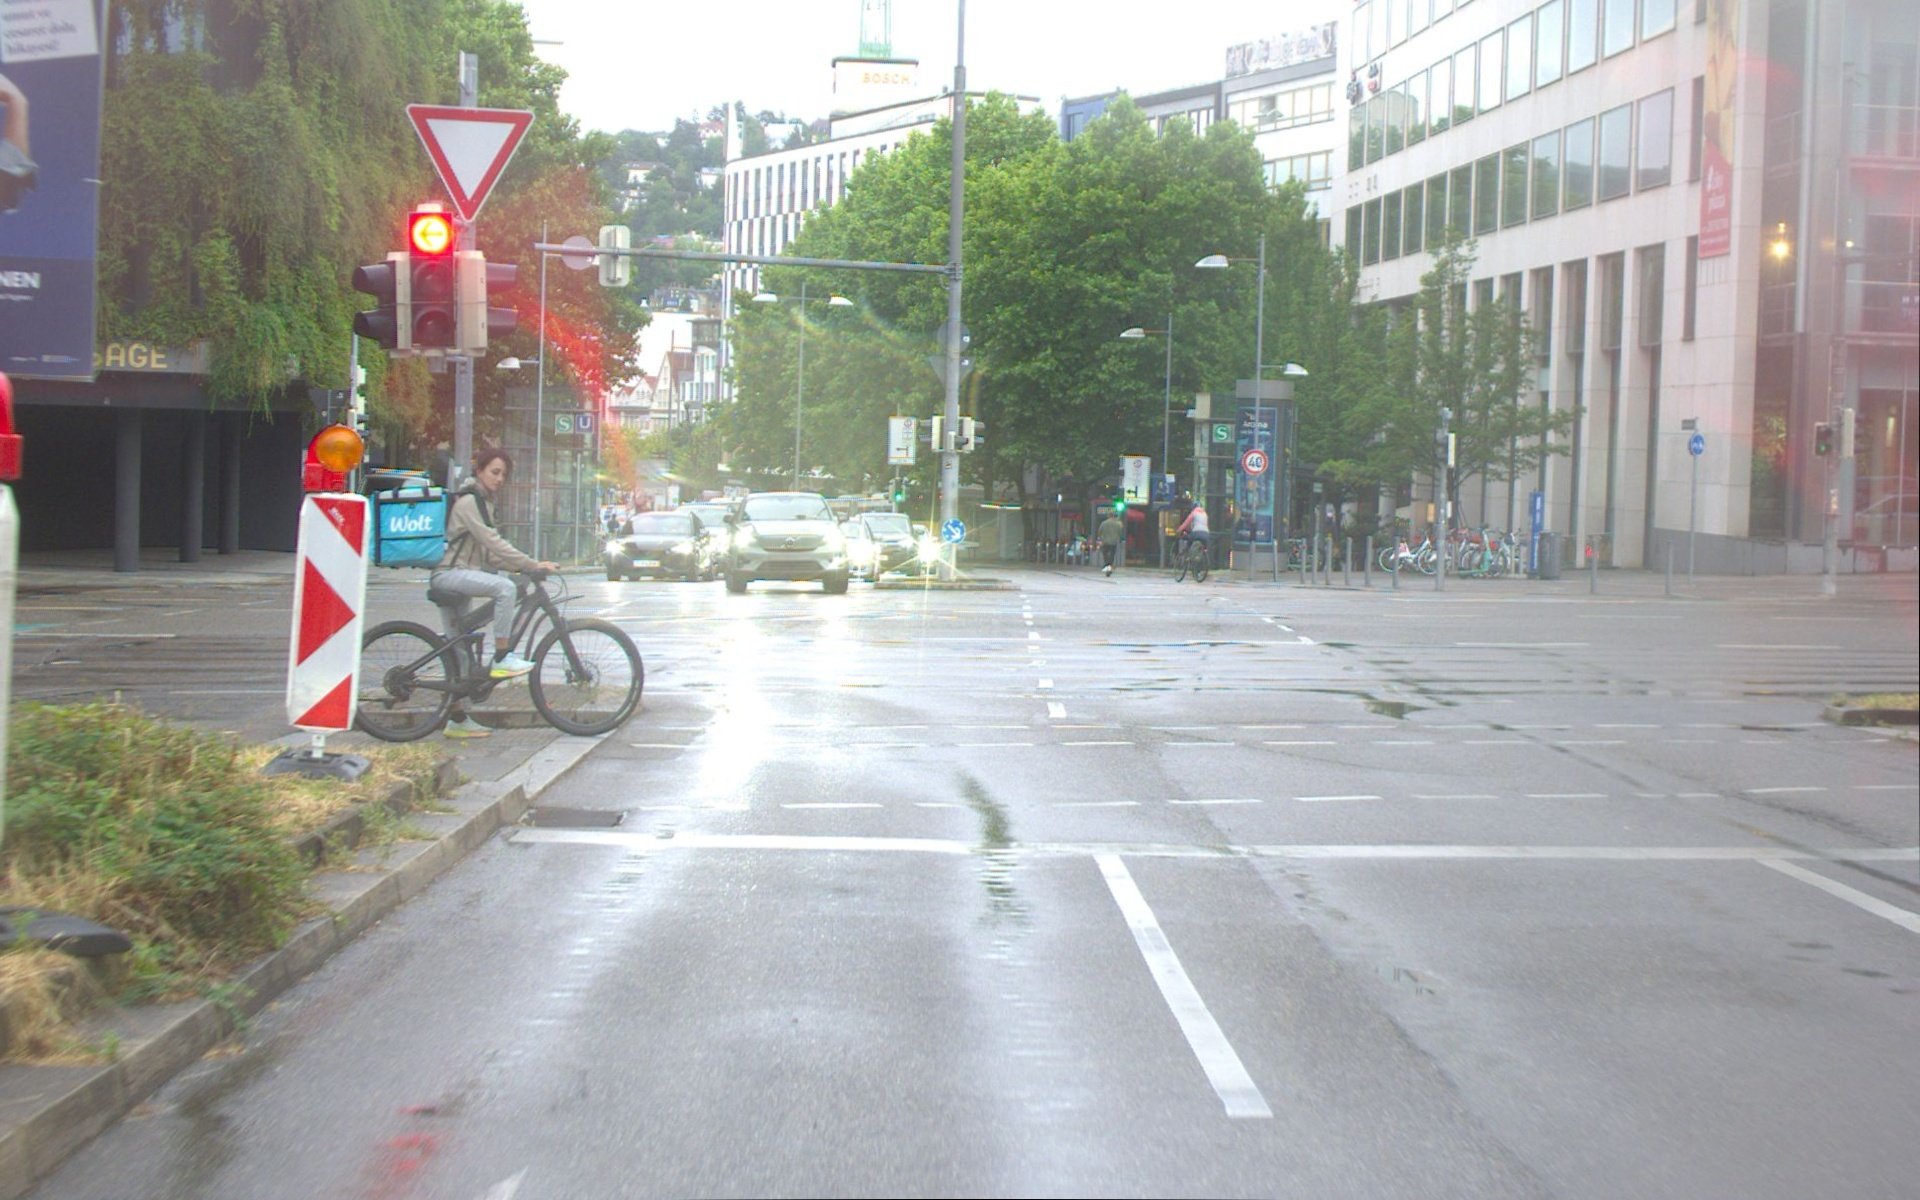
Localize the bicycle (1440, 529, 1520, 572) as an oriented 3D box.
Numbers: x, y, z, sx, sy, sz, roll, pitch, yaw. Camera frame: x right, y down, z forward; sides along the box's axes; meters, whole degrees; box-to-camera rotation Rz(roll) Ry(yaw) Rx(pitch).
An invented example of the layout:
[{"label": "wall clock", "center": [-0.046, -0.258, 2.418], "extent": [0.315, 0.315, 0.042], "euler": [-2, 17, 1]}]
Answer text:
[{"label": "bicycle", "center": [11.768, -1.126, 77.825], "extent": [1.799, 0.931, 0.474], "euler": [2, 2, 41]}]

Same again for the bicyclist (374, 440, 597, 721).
[{"label": "bicyclist", "center": [-2.953, -0.127, 21.317], "extent": [1.294, 1.698, 0.848], "euler": [1, 2, -11]}]

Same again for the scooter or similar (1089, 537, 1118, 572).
[{"label": "scooter or similar", "center": [4.230, -1.350, 101.184], "extent": [0.556, 1.003, 1.824], "euler": [1, 1, -7]}]

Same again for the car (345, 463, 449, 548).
[{"label": "car", "center": [-12.999, -2.194, 79.562], "extent": [1.993, 1.888, 4.466], "euler": [1, 2, -5]}]

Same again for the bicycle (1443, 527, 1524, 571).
[{"label": "bicycle", "center": [11.739, -1.148, 77.079], "extent": [1.799, 0.931, 0.474], "euler": [2, 2, 41]}]

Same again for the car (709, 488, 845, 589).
[{"label": "car", "center": [-2.992, -1.017, 55.400], "extent": [1.993, 1.545, 4.557], "euler": [1, 2, -5]}]

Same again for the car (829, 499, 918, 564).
[{"label": "car", "center": [-2.153, -1.695, 84.409], "extent": [1.993, 1.438, 4.557], "euler": [0, 3, -4]}]

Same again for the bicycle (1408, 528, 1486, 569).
[{"label": "bicycle", "center": [11.642, -1.233, 82.152], "extent": [1.794, 0.931, 0.475], "euler": [1, 1, 3]}]

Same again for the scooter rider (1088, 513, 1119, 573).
[{"label": "scooter rider", "center": [4.222, -1.680, 101.156], "extent": [0.762, 1.768, 0.796], "euler": [1, 1, -7]}]

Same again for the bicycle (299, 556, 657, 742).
[{"label": "bicycle", "center": [-3.003, 0.297, 21.377], "extent": [2.145, 1.099, 0.848], "euler": [1, 2, -10]}]

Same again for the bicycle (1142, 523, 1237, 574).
[{"label": "bicycle", "center": [5.254, -1.190, 78.871], "extent": [0.791, 1.113, 2.255], "euler": [0, 2, -41]}]

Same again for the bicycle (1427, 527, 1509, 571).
[{"label": "bicycle", "center": [11.148, -1.118, 75.472], "extent": [1.799, 0.931, 0.474], "euler": [2, 2, 41]}]

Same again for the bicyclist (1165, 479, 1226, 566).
[{"label": "bicyclist", "center": [5.390, -1.772, 78.737], "extent": [0.791, 1.968, 1.114], "euler": [0, 2, -41]}]

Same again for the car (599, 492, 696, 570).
[{"label": "car", "center": [-6.252, -1.412, 69.069], "extent": [1.856, 1.443, 4.622], "euler": [1, 2, -5]}]

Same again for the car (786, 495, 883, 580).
[{"label": "car", "center": [-2.625, -1.340, 72.230], "extent": [1.963, 1.649, 4.365], "euler": [0, 3, -2]}]

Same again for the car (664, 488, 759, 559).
[{"label": "car", "center": [-5.490, -1.701, 75.617], "extent": [1.856, 1.443, 4.622], "euler": [1, 2, -7]}]

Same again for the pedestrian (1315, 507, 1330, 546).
[{"label": "pedestrian", "center": [10.715, -2.170, 101.582], "extent": [0.353, 1.169, 0.415], "euler": [1, 1, -3]}]

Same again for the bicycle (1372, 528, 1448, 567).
[{"label": "bicycle", "center": [10.992, -1.284, 84.001], "extent": [1.794, 0.931, 0.475], "euler": [1, 1, 3]}]

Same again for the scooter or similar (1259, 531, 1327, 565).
[{"label": "scooter or similar", "center": [8.813, -1.380, 91.029], "extent": [1.745, 0.875, 0.489], "euler": [0, 1, -19]}]

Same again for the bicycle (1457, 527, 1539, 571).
[{"label": "bicycle", "center": [11.913, -1.125, 76.113], "extent": [1.799, 0.931, 0.474], "euler": [2, 2, 41]}]
